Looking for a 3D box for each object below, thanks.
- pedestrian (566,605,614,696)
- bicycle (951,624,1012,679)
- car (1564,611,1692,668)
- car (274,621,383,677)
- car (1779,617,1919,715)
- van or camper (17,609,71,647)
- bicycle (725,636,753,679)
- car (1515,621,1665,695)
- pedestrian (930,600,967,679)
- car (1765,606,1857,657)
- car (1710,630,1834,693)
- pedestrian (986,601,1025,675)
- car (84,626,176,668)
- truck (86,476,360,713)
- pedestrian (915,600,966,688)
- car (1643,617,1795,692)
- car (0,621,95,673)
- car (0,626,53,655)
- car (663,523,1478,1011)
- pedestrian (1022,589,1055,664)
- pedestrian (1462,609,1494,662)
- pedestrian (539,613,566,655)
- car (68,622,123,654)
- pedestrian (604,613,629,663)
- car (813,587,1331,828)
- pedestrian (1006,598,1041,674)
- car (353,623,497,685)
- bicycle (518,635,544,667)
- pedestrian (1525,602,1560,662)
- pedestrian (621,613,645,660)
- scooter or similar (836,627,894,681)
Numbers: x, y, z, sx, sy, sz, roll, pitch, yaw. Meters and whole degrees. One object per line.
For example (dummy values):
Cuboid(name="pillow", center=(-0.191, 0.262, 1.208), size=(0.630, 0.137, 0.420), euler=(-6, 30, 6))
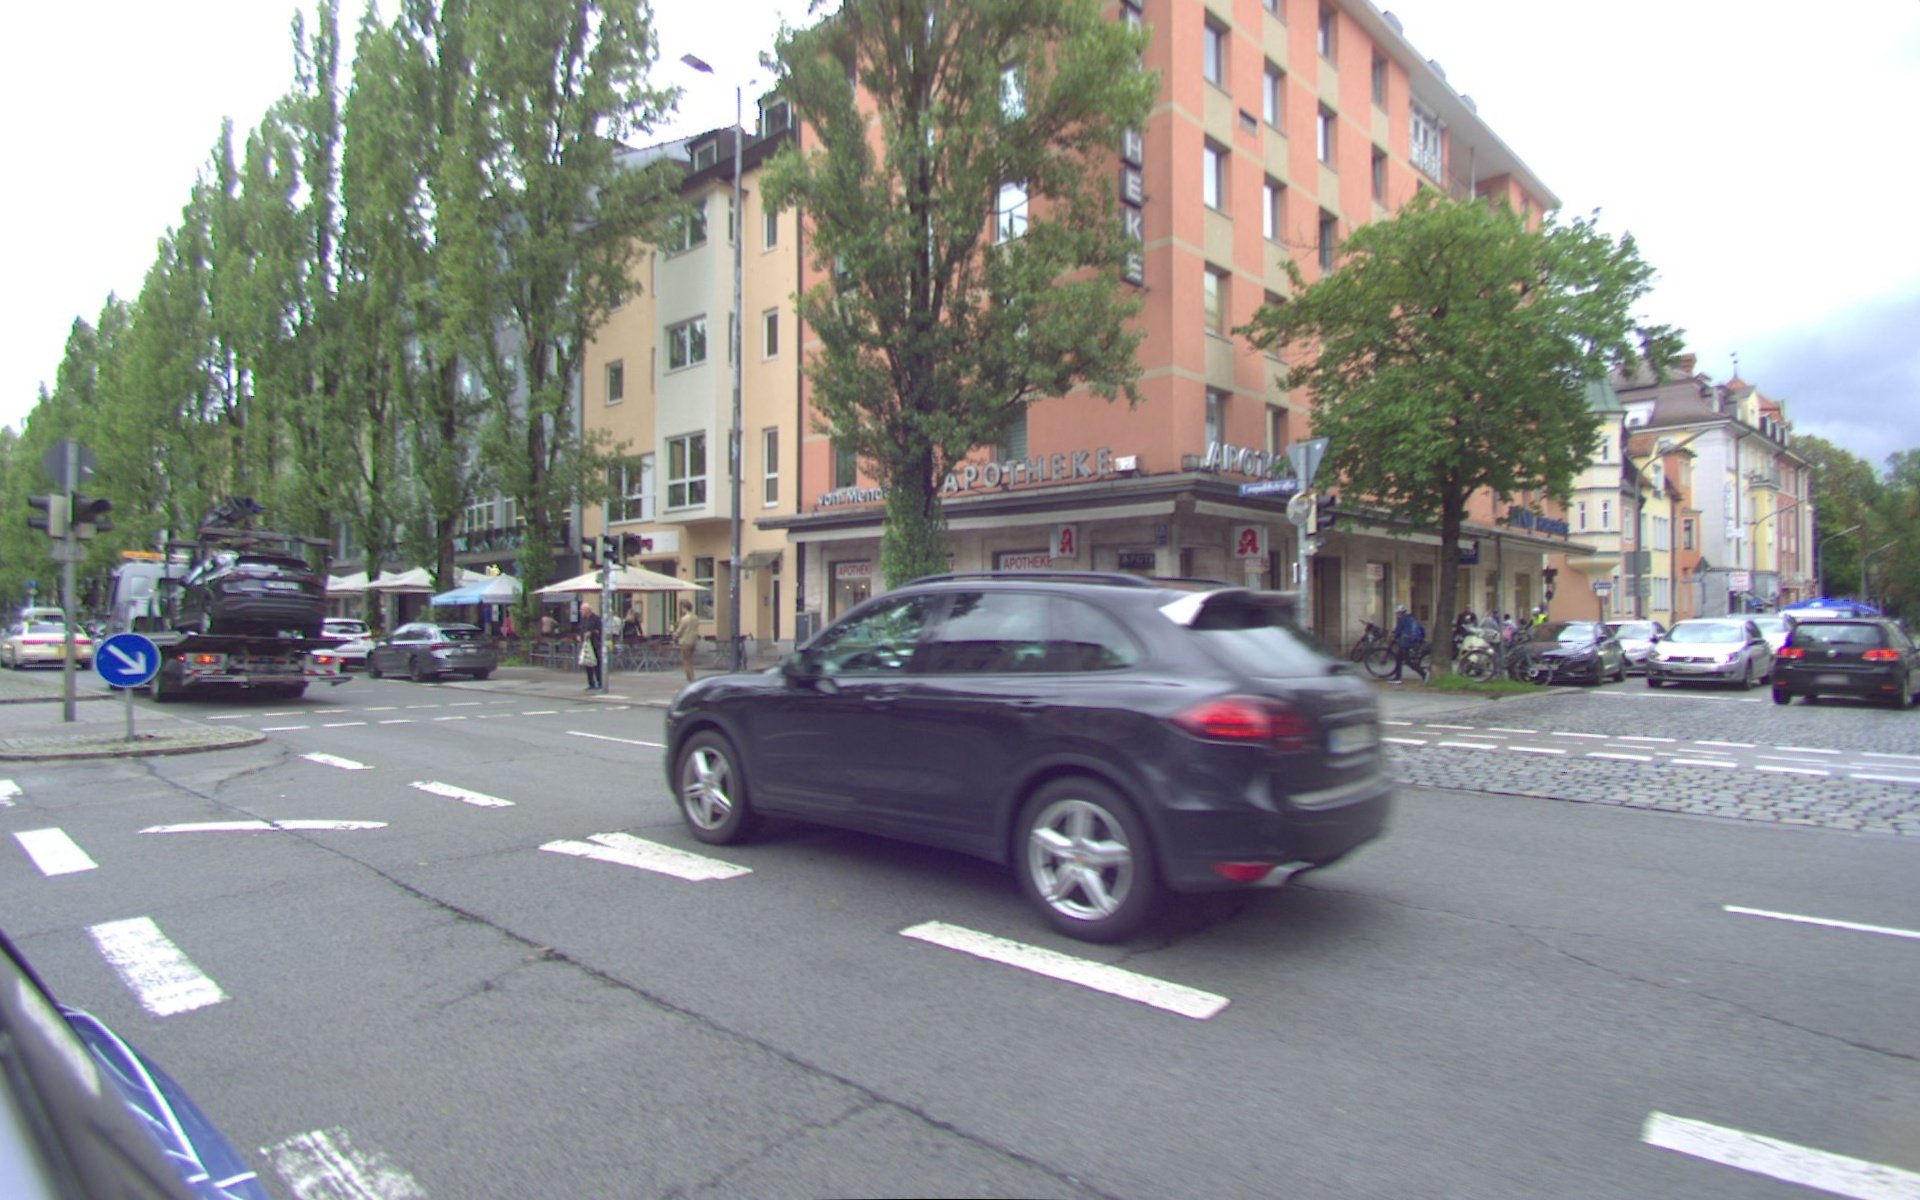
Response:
Cuboid(name="pedestrian", center=(-7.656, 1.013, 20.915), size=(0.725, 1.809, 0.995), euler=(-1, 0, -31))
Cuboid(name="bicycle", center=(0.462, 1.100, 21.806), size=(1.373, 1.150, 0.416), euler=(-1, -2, 42))
Cuboid(name="car", center=(18.157, 1.032, 27.454), size=(3.886, 1.431, 1.894), euler=(1, -2, -41))
Cuboid(name="car", center=(-19.399, 1.471, 31.024), size=(4.094, 1.595, 1.685), euler=(-1, -2, 41))
Cuboid(name="car", center=(15.153, 1.034, 17.233), size=(1.771, 1.486, 3.654), euler=(-1, -2, 40))
Cuboid(name="van or camper", center=(-63.708, 1.976, 70.342), size=(6.641, 2.570, 2.103), euler=(-2, -2, 42))
Cuboid(name="bicycle", center=(-5.444, 1.406, 24.905), size=(0.324, 0.993, 1.817), euler=(0, -1, -23))
Cuboid(name="car", center=(14.420, 1.252, 23.089), size=(3.937, 1.431, 1.784), euler=(-1, 0, -41))
Cuboid(name="pedestrian", center=(-0.250, 0.846, 22.037), size=(0.626, 1.683, 0.501), euler=(-2, -2, 42))
Cuboid(name="car", center=(25.565, 0.892, 30.365), size=(4.008, 1.431, 1.787), euler=(1, -1, -45))
Cuboid(name="car", center=(20.737, 1.504, 25.804), size=(3.937, 1.431, 1.745), euler=(1, -2, -41))
Cuboid(name="pedestrian", center=(0.998, 0.817, 22.217), size=(0.548, 1.595, 0.649), euler=(-2, -2, 42))
Cuboid(name="car", center=(-30.168, 1.671, 36.749), size=(4.630, 1.418, 1.804), euler=(-1, -2, 41))
Cuboid(name="truck", center=(-14.435, -0.024, 19.480), size=(8.435, 3.698, 2.437), euler=(-1, -1, 41))
Cuboid(name="pedestrian", center=(-0.404, 0.901, 21.000), size=(0.778, 1.784, 0.716), euler=(-2, -2, 42))
Cuboid(name="car", center=(16.275, 1.104, 21.644), size=(3.937, 1.431, 1.784), euler=(0, -1, -41))
Cuboid(name="car", center=(-28.660, 1.425, 31.570), size=(4.983, 1.513, 1.824), euler=(-1, -2, 41))
Cuboid(name="car", center=(-49.320, 2.120, 53.415), size=(3.821, 1.448, 1.718), euler=(-1, -2, 41))
Cuboid(name="car", center=(0.317, 0.647, 5.847), size=(4.437, 1.759, 1.864), euler=(-1, -2, 42))
Cuboid(name="pedestrian", center=(1.831, 0.616, 23.681), size=(0.513, 1.703, 0.580), euler=(-2, -2, 41))
Cuboid(name="pedestrian", center=(16.408, 1.110, 32.037), size=(0.729, 1.654, 0.729), euler=(-1, 0, 41))
Cuboid(name="pedestrian", center=(-15.921, 1.315, 39.536), size=(0.756, 1.614, 0.732), euler=(-2, -2, 43))
Cuboid(name="car", center=(-48.516, 2.123, 56.803), size=(3.767, 1.699, 1.601), euler=(-1, -3, 39))
Cuboid(name="pedestrian", center=(-12.083, 1.335, 35.576), size=(0.691, 1.731, 0.549), euler=(-2, -2, 40))
Cuboid(name="car", center=(0.833, 0.828, 9.493), size=(4.634, 1.729, 1.818), euler=(-1, -2, 42))
Cuboid(name="pedestrian", center=(1.458, 0.807, 23.217), size=(0.519, 1.701, 0.623), euler=(-1, 0, 42))
Cuboid(name="car", center=(-13.814, 1.329, 26.028), size=(4.587, 1.449, 1.686), euler=(-1, -2, 40))
Cuboid(name="bicycle", center=(-13.733, 1.633, 32.414), size=(0.320, 0.966, 1.536), euler=(0, -1, -6))
Cuboid(name="pedestrian", center=(17.553, 0.949, 30.499), size=(0.780, 1.780, 0.655), euler=(-2, -2, 40))
Cuboid(name="pedestrian", center=(-11.611, 1.301, 35.948), size=(0.691, 1.651, 0.549), euler=(-2, -2, 40))
Cuboid(name="scooter or similar", center=(-2.147, 1.208, 22.778), size=(1.401, 1.182, 0.403), euler=(-1, -1, 37))
